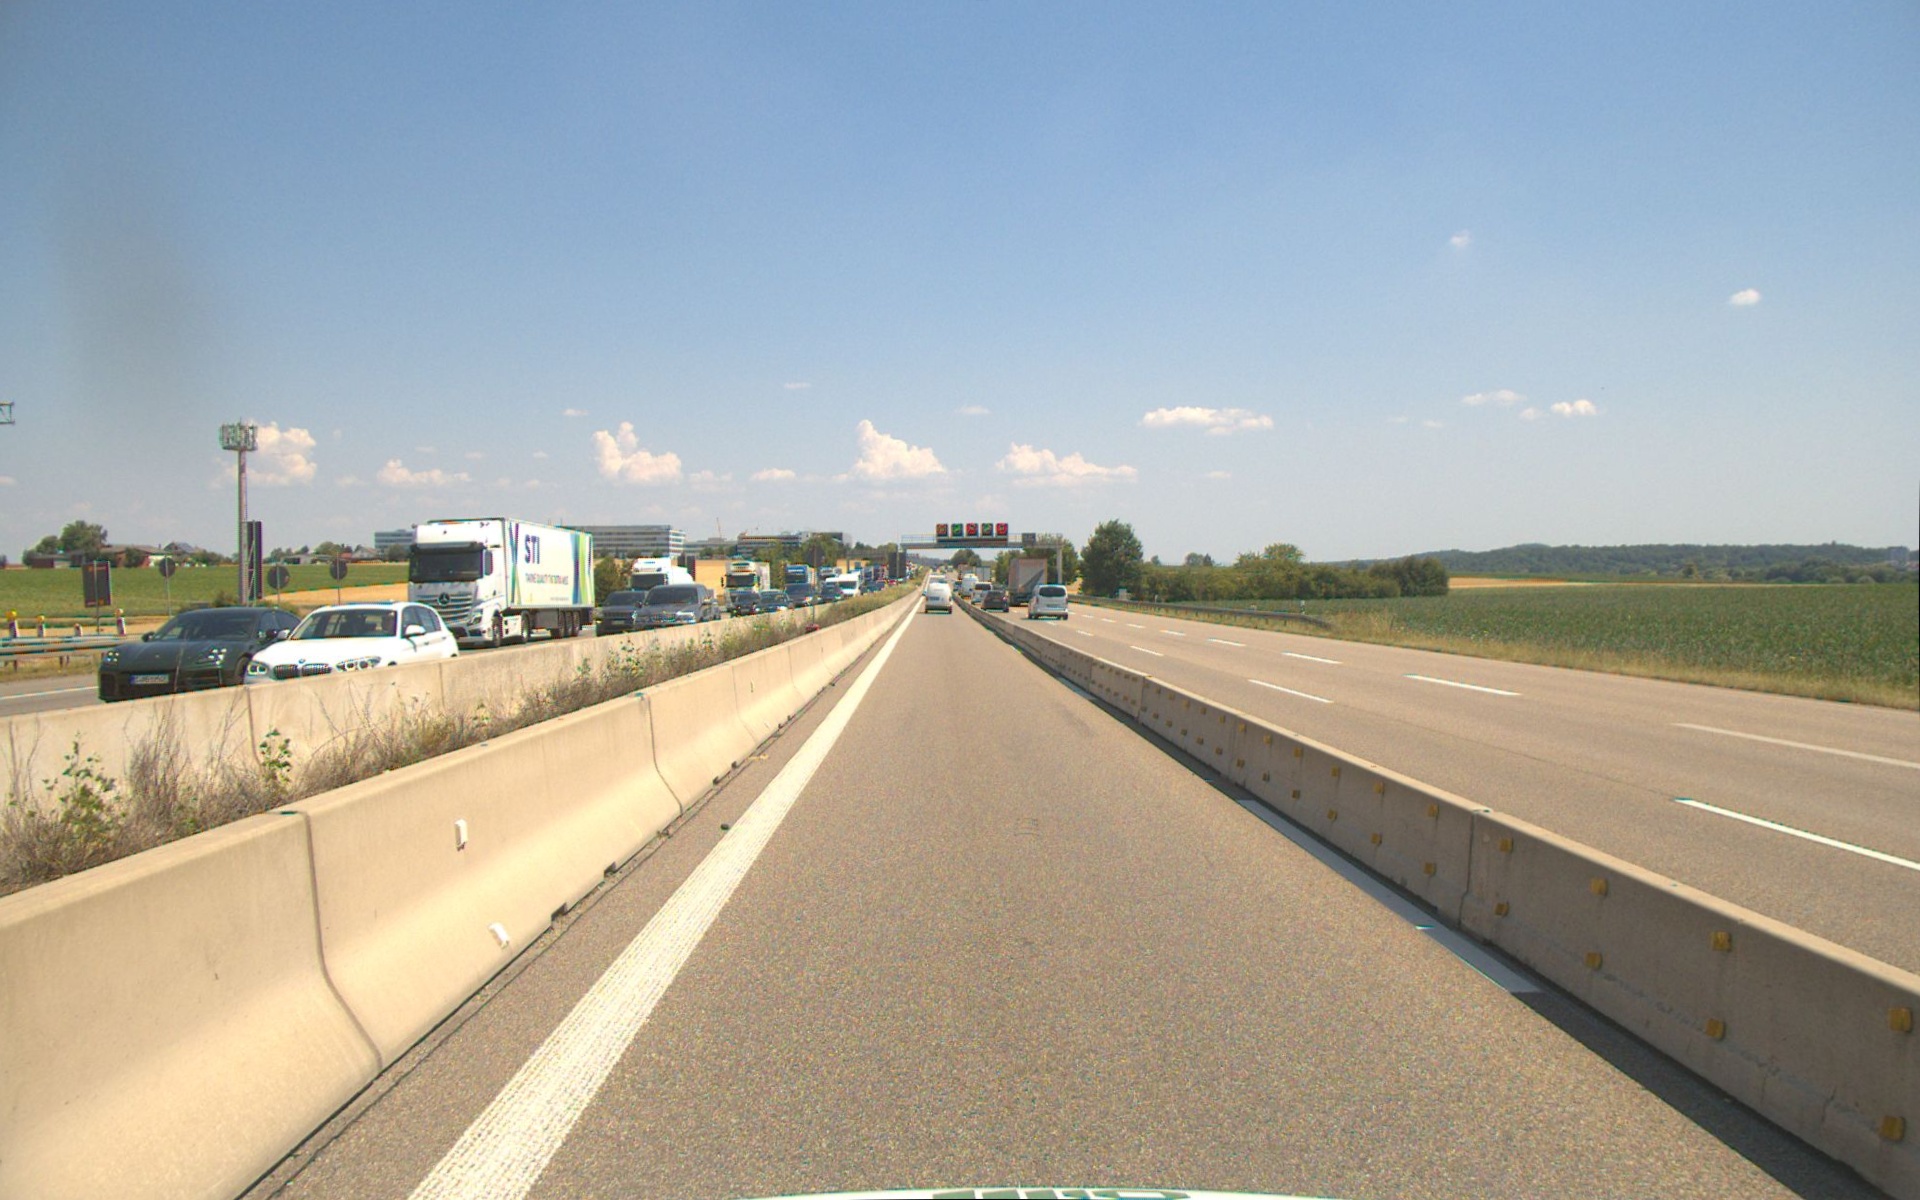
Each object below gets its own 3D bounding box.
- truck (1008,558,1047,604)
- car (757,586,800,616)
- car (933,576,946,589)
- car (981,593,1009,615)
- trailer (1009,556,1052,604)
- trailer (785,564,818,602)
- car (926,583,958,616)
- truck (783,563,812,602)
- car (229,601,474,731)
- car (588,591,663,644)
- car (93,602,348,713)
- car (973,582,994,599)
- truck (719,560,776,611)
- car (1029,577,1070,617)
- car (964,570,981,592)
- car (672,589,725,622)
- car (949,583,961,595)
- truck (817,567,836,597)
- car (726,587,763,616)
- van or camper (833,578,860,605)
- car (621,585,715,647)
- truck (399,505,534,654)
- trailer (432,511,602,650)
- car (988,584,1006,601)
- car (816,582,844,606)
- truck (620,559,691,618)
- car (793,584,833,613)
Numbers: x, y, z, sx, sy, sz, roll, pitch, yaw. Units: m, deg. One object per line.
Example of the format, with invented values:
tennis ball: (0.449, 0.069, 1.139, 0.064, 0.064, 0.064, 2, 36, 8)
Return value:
truck: (5.952, -1.659, 146.156, 3.204, 4.036, 4.911, 0, 0, -1)
car: (-8.594, 0.040, 78.621, 1.622, 1.375, 4.266, 0, 0, -1)
car: (-3.098, -2.668, 247.419, 1.953, 1.867, 3.999, 0, 0, -1)
car: (2.324, 0.287, 112.068, 1.737, 1.472, 3.999, 0, 0, -1)
trailer: (6.005, -1.663, 142.182, 3.211, 4.036, 9.110, 0, 0, -1)
trailer: (-18.183, -2.022, 190.862, 2.753, 4.200, 14.127, -1, 1, -1)
car: (-1.138, -0.024, 103.843, 1.953, 2.049, 3.999, 0, 0, -1)
truck: (-18.022, -1.960, 183.873, 2.753, 4.200, 4.840, -1, 1, -1)
car: (-7.892, 0.784, 21.912, 1.641, 1.545, 4.507, 0, 0, -1)
car: (-11.924, 0.600, 59.161, 1.953, 1.847, 3.999, 0, 0, -1)
car: (-11.239, 0.804, 25.572, 1.775, 1.512, 4.962, -1, 0, -1)
car: (2.033, -0.810, 146.672, 1.737, 1.472, 3.999, 0, 0, -1)
truck: (-16.556, -1.170, 129.820, 2.738, 3.672, 13.287, -2, 1, 0)
car: (4.930, -0.180, 91.209, 1.953, 2.157, 3.999, 0, 0, -1)
car: (1.406, -2.114, 187.628, 1.737, 2.434, 3.999, 0, 0, -1)
car: (-12.457, 0.241, 79.035, 1.809, 1.508, 4.921, 0, 1, -1)
car: (-0.779, -1.665, 260.898, 1.953, 1.867, 3.999, 0, 0, -1)
truck: (-19.105, -2.604, 237.153, 2.362, 4.158, 4.659, -1, 1, -1)
car: (-12.658, 0.072, 97.439, 1.622, 1.680, 4.664, 0, 0, -1)
van or camper: (-9.921, -0.778, 145.164, 1.994, 2.260, 7.206, 1, 1, -1)
car: (-8.057, 0.416, 46.010, 1.852, 1.645, 4.820, 0, 0, -1)
truck: (-15.741, -0.653, 53.102, 2.812, 4.451, 4.902, -2, 0, -1)
trailer: (-15.883, -0.680, 60.579, 2.834, 4.451, 12.990, -2, 0, -1)
car: (4.329, -0.853, 195.657, 1.953, 2.049, 3.999, 0, 0, -1)
car: (-9.261, -0.445, 118.104, 1.746, 1.617, 4.540, 0, 0, -1)
truck: (-21.662, -0.843, 118.370, 2.841, 3.842, 13.284, -3, 1, -2)
car: (-8.238, -0.092, 93.120, 1.806, 1.597, 5.344, 0, 1, -1)
